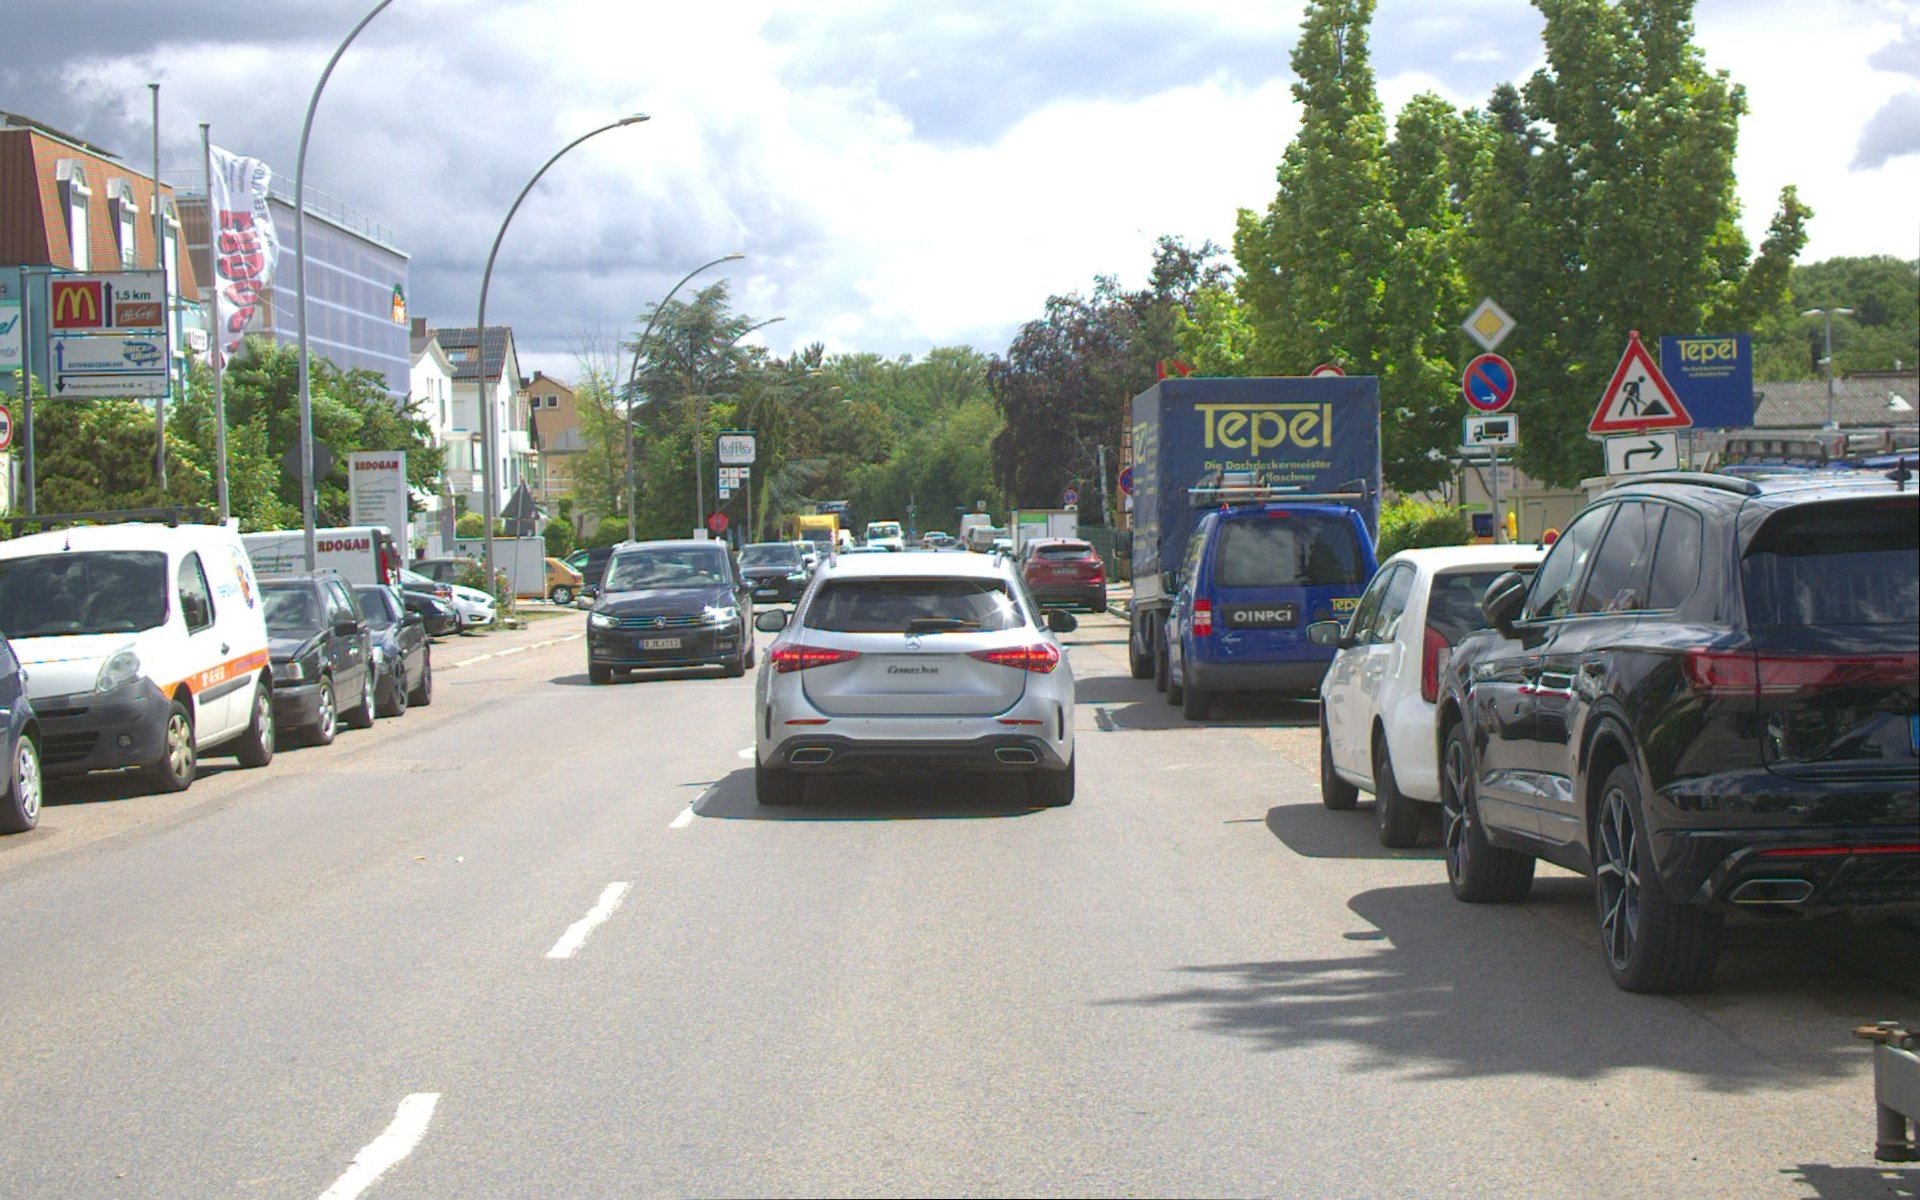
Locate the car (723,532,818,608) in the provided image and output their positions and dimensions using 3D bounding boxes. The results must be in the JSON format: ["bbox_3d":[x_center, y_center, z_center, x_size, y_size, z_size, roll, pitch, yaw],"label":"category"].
[{"bbox_3d":[-4.415,-0.728,80.741,1.993,1.610,4.411,-2,1,-1],"label":"car"}]

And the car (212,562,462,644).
[{"bbox_3d":[-10.767,0.044,59.597,3.986,1.310,1.872,-1,0,-1],"label":"car"}]

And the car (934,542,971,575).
[{"bbox_3d":[-0.388,-2.041,169.372,1.755,1.553,4.000,-1,1,-1],"label":"car"}]

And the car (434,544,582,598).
[{"bbox_3d":[-13.190,-0.852,100.495,4.149,1.486,1.826,1,1,-4],"label":"car"}]

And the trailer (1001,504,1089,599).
[{"bbox_3d":[2.140,-1.245,87.575,1.941,2.286,4.446,-2,1,-2],"label":"trailer"}]

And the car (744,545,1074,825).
[{"bbox_3d":[-0.356,0.424,20.745,1.784,1.479,4.317,0,1,-2],"label":"car"}]

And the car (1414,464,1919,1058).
[{"bbox_3d":[3.002,0.397,12.452,1.873,1.721,4.714,-2,1,-2],"label":"car"}]

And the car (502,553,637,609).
[{"bbox_3d":[-14.059,-0.706,124.073,4.626,1.627,2.198,-4,2,-3],"label":"car"}]

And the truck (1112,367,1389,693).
[{"bbox_3d":[2.907,-0.741,35.904,2.320,3.086,6.043,1,1,0],"label":"truck"}]

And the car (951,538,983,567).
[{"bbox_3d":[0.402,-2.865,207.418,1.784,1.709,4.317,0,1,-2],"label":"car"}]

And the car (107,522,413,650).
[{"bbox_3d":[-11.506,-0.251,56.767,4.650,1.965,2.116,-1,1,-3],"label":"car"}]

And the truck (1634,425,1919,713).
[{"bbox_3d":[7.222,-0.361,28.814,1.829,2.074,5.386,-4,3,-1],"label":"truck"}]

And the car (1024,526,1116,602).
[{"bbox_3d":[2.425,-0.825,76.186,1.941,1.566,4.446,-2,1,2],"label":"car"}]

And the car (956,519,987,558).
[{"bbox_3d":[0.749,-3.917,219.781,1.784,2.510,4.317,0,1,-2],"label":"car"}]

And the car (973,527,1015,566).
[{"bbox_3d":[1.771,-2.857,182.312,2.144,1.977,5.261,-2,1,0],"label":"car"}]

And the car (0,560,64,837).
[{"bbox_3d":[-6.042,0.616,18.040,1.639,1.482,4.001,-4,2,-2],"label":"car"}]

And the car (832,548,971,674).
[{"bbox_3d":[-0.788,0.108,46.022,1.755,1.553,4.000,-1,1,-1],"label":"car"}]

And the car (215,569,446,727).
[{"bbox_3d":[-6.205,0.431,34.253,1.630,1.299,4.117,-4,2,-3],"label":"car"}]

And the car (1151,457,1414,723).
[{"bbox_3d":[2.767,-0.135,30.398,1.873,2.161,4.464,1,1,0],"label":"car"}]

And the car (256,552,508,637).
[{"bbox_3d":[-10.801,-0.105,64.409,4.374,1.473,1.871,-1,0,0],"label":"car"}]

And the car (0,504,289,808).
[{"bbox_3d":[-5.941,0.323,23.739,1.743,1.832,4.356,-4,2,-2],"label":"car"}]

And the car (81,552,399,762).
[{"bbox_3d":[-6.006,0.411,29.195,1.743,1.467,4.645,-4,2,-2],"label":"car"}]

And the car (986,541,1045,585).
[{"bbox_3d":[1.977,-1.333,123.517,1.791,1.445,4.364,-2,1,-3],"label":"car"}]

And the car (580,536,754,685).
[{"bbox_3d":[-3.431,0.077,40.909,1.743,1.622,4.356,-1,1,-1],"label":"car"}]

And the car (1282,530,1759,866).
[{"bbox_3d":[2.813,0.418,18.109,1.773,1.503,4.000,-2,1,-1],"label":"car"}]

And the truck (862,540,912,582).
[{"bbox_3d":[-3.985,-2.151,188.529,2.319,2.171,6.449,-2,1,2],"label":"truck"}]

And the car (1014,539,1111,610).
[{"bbox_3d":[2.416,-0.624,81.881,1.941,1.566,4.446,-2,1,-2],"label":"car"}]

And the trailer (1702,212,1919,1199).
[{"bbox_3d":[2.802,0.287,6.564,1.772,2.137,4.114,-2,1,-1],"label":"trailer"}]

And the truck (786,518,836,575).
[{"bbox_3d":[-7.790,-2.844,180.425,2.075,2.804,7.078,-2,1,1],"label":"truck"}]

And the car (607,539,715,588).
[{"bbox_3d":[-12.302,-1.491,141.542,4.279,1.830,1.991,-2,-2,-1],"label":"car"}]

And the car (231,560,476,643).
[{"bbox_3d":[-10.859,0.014,61.719,3.987,1.350,1.871,-1,1,2],"label":"car"}]
